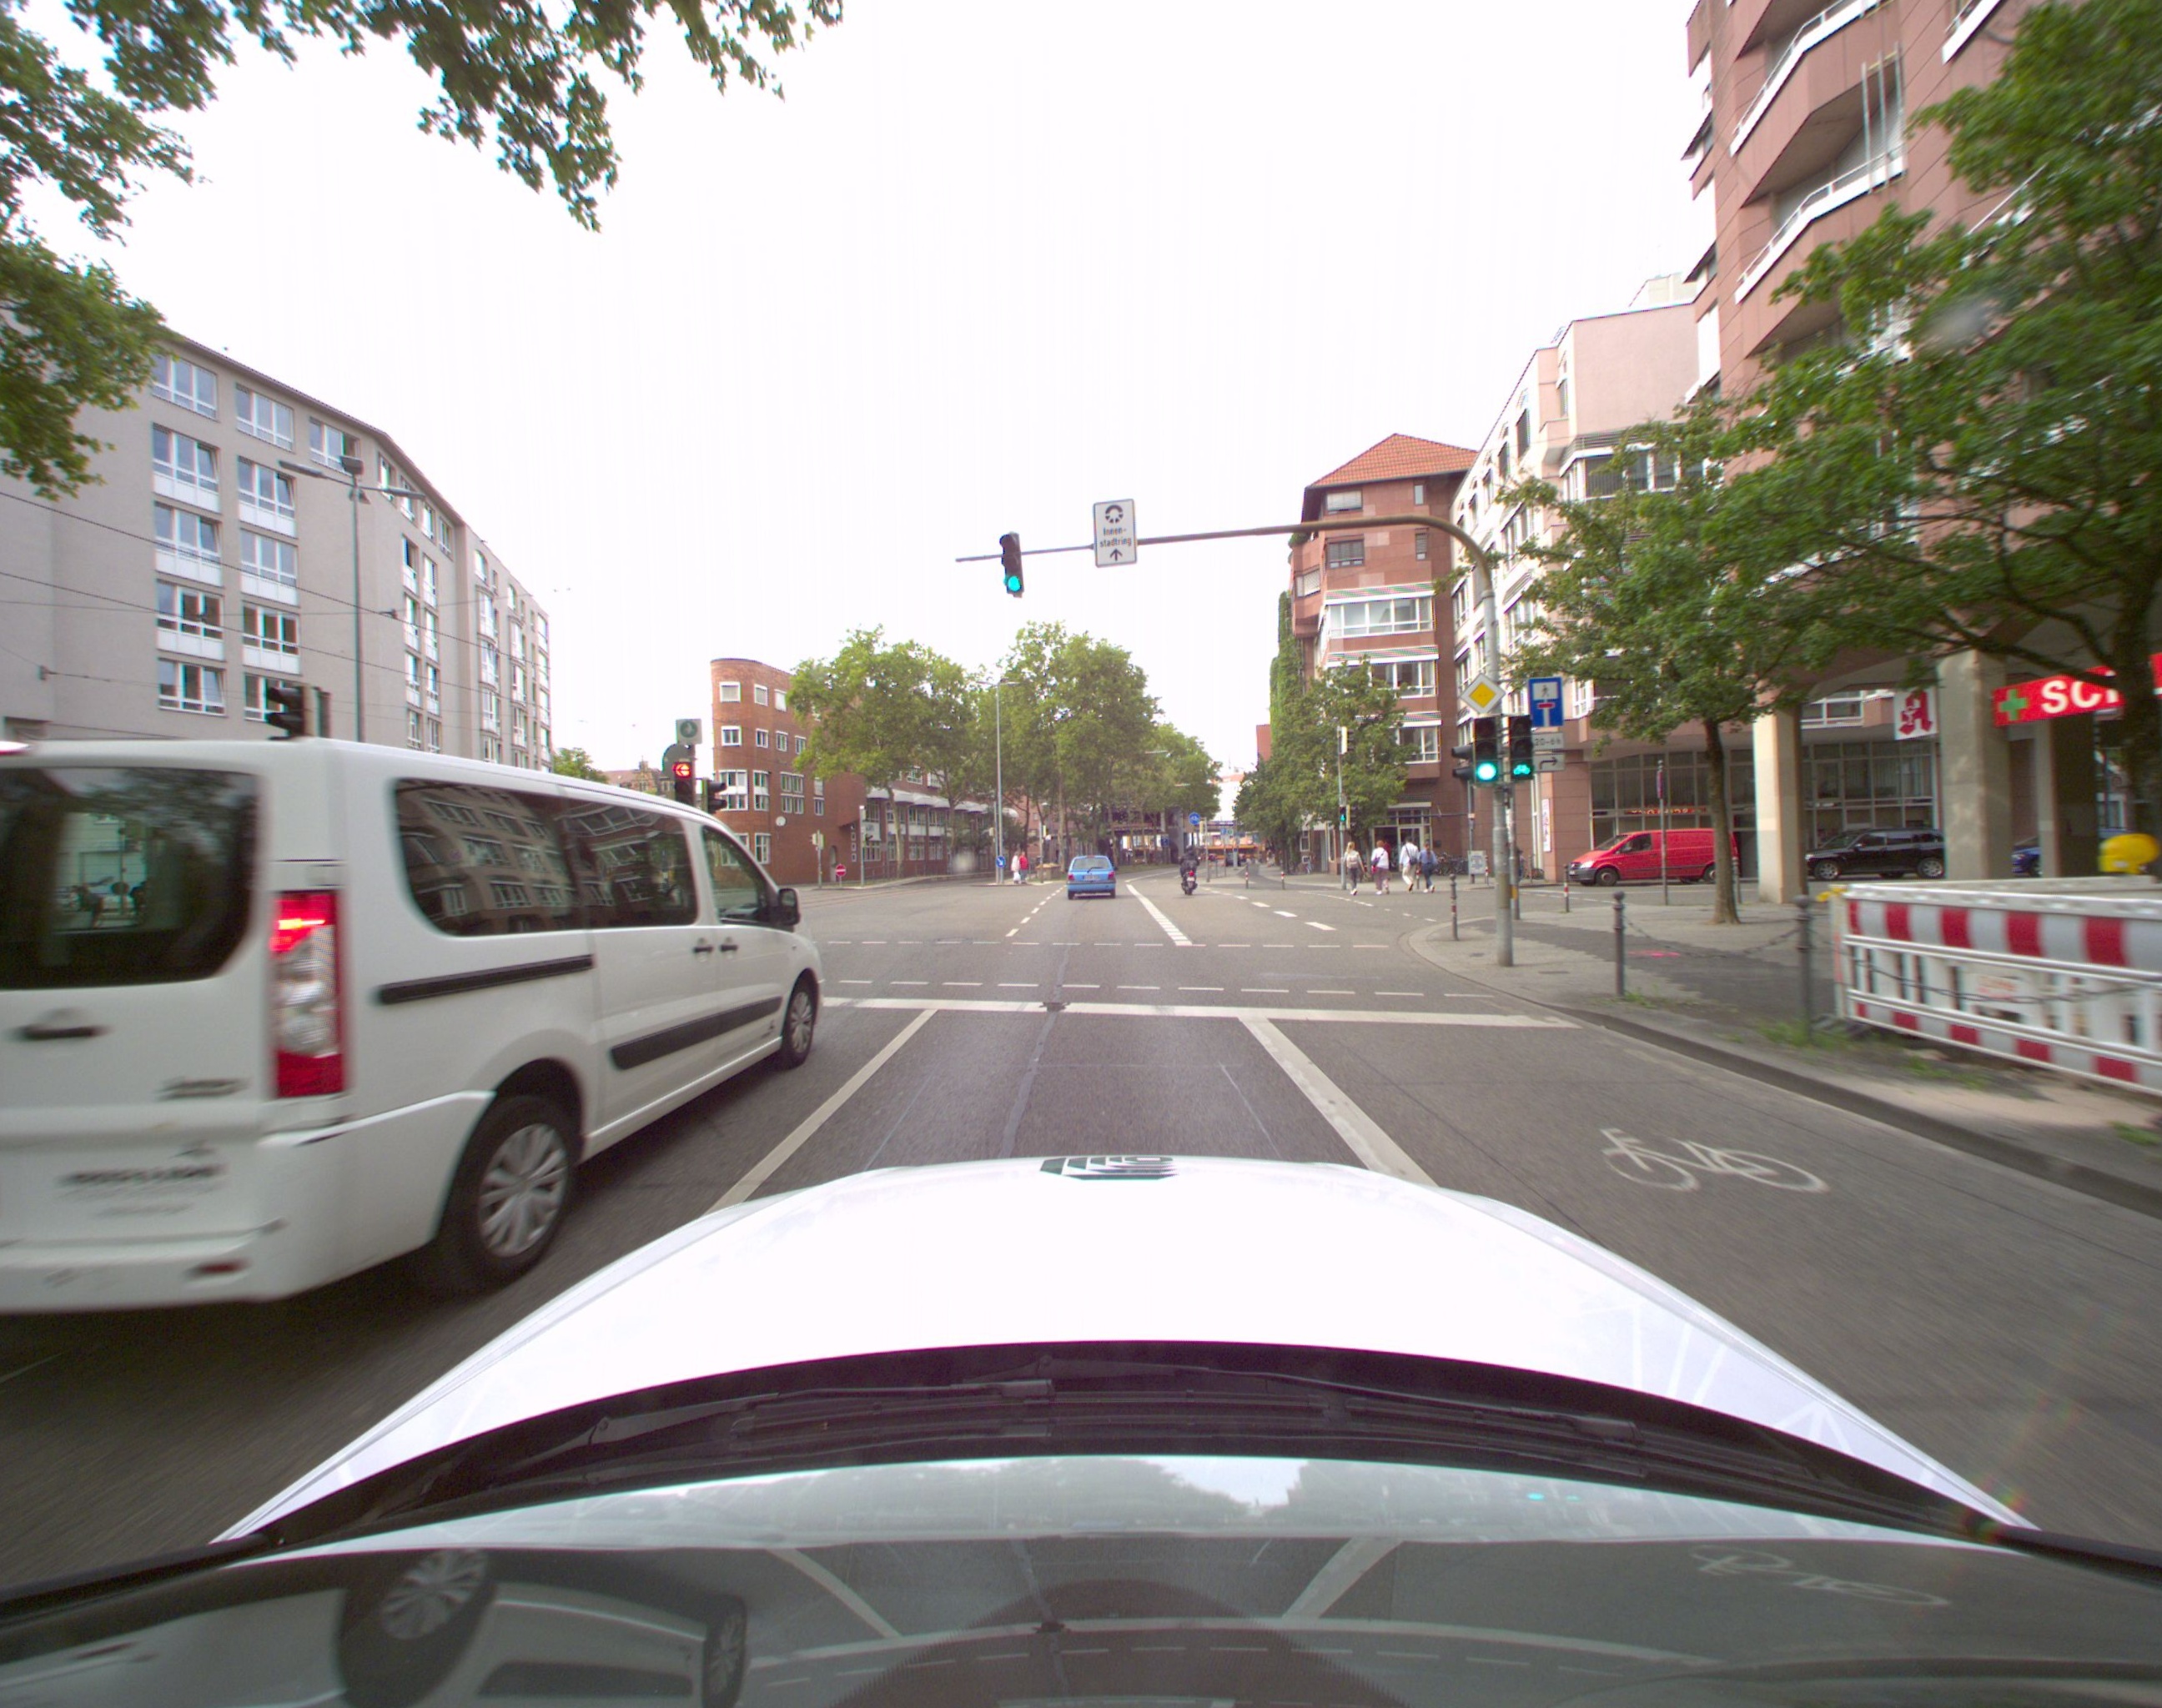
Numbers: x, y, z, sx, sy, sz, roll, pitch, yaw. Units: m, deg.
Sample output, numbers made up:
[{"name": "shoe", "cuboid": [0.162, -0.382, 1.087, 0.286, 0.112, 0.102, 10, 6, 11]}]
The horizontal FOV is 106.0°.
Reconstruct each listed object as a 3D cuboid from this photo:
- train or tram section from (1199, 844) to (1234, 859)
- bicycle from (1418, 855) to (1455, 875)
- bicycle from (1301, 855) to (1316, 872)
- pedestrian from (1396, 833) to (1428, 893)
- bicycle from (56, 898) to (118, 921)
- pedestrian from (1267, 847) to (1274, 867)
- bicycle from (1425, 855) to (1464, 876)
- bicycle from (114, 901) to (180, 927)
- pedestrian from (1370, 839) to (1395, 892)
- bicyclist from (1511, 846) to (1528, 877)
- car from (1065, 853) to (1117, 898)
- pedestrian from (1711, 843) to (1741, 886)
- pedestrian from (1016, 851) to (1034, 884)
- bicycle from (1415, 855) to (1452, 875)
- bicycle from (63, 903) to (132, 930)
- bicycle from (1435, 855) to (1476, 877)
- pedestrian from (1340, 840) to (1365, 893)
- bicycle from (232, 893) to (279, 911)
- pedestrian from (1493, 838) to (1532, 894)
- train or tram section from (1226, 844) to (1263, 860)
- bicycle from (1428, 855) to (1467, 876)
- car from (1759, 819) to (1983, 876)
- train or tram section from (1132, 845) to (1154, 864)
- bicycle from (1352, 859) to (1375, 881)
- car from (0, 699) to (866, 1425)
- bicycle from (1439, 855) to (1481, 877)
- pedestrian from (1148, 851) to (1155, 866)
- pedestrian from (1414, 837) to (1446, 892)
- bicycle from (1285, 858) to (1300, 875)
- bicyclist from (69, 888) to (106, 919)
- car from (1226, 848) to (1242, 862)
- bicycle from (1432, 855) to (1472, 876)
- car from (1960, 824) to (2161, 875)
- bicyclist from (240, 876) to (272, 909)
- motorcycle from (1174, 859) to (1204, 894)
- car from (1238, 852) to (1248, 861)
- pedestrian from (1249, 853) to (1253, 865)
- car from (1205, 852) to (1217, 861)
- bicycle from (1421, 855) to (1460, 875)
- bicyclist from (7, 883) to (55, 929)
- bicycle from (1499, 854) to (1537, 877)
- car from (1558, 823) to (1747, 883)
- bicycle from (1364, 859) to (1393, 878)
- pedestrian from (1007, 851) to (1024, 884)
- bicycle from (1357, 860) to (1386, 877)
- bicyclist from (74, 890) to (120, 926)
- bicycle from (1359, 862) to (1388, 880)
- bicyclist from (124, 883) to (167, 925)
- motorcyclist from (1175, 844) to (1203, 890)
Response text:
[{"name": "train or tram section", "cuboid": [30.909, -0.644, 185.439, 8.860, 3.254, 2.369, -2, -1, -38]}, {"name": "bicycle", "cuboid": [18.649, 0.572, 42.722, 1.720, 1.008, 0.438, -2, -1, 8]}, {"name": "bicycle", "cuboid": [13.971, 0.581, 49.956, 0.613, 1.008, 1.739, -2, 0, 7]}, {"name": "pedestrian", "cuboid": [10.483, 0.282, 25.814, 0.672, 1.828, 0.853, -2, 0, 8]}, {"name": "bicycle", "cuboid": [-51.189, 2.862, 41.955, 2.096, 1.048, 0.712, -2, 0, -5]}, {"name": "pedestrian", "cuboid": [18.592, 0.282, 79.984, 0.642, 1.859, 0.785, -2, 0, 11]}, {"name": "bicycle", "cuboid": [18.582, 0.570, 41.677, 1.720, 1.008, 0.480, -2, -1, 8]}, {"name": "bicycle", "cuboid": [-36.044, 2.312, 31.446, 2.164, 0.911, 0.769, -2, 0, 14]}, {"name": "pedestrian", "cuboid": [9.287, 0.346, 25.097, 0.514, 1.616, 0.853, -2, 0, 8]}, {"name": "bicyclist", "cuboid": [17.864, 0.318, 33.202, 0.491, 1.244, 0.483, -2, 0, 39]}, {"name": "car", "cuboid": [0.376, 0.671, 27.643, 1.634, 1.386, 3.844, -1, 0, 2]}, {"name": "pedestrian", "cuboid": [24.257, 0.382, 30.627, 0.646, 1.579, 0.581, -2, 0, 12]}, {"name": "pedestrian", "cuboid": [-2.988, 0.691, 43.383, 0.547, 1.718, 0.896, -2, -1, 28]}, {"name": "bicycle", "cuboid": [18.702, 0.574, 43.223, 1.720, 1.008, 0.431, -2, -1, 8]}, {"name": "bicycle", "cuboid": [-36.725, 2.345, 30.414, 2.164, 0.911, 0.769, -2, 0, 14]}, {"name": "bicycle", "cuboid": [18.275, 0.584, 39.803, 1.720, 1.008, 0.547, -2, -1, 8]}, {"name": "pedestrian", "cuboid": [8.427, 0.390, 25.283, 0.514, 1.616, 0.852, -2, 0, 6]}, {"name": "bicycle", "cuboid": [-40.855, 2.372, 40.301, 1.969, 0.836, 0.580, -2, 0, 9]}, {"name": "pedestrian", "cuboid": [12.269, 0.335, 23.166, 0.671, 1.538, 0.949, -2, 0, 9]}, {"name": "train or tram section", "cuboid": [38.187, -0.482, 189.854, 8.365, 3.254, 2.379, -2, -1, -22]}, {"name": "bicycle", "cuboid": [18.544, 0.569, 41.188, 1.720, 1.008, 0.425, -2, -1, 8]}, {"name": "car", "cuboid": [25.293, -0.162, 26.298, 4.793, 1.590, 2.007, -2, -2, 13]}, {"name": "train or tram section", "cuboid": [10.847, 0.096, 141.701, 2.373, 3.254, 8.847, -2, -1, 12]}, {"name": "bicycle", "cuboid": [13.179, 0.738, 38.081, 0.614, 1.008, 1.738, -2, 0, 6]}, {"name": "car", "cuboid": [-2.939, 0.564, 4.674, 1.925, 1.925, 4.957, -2, 0, 1]}, {"name": "bicycle", "cuboid": [18.238, 0.586, 39.194, 1.720, 1.008, 0.547, -2, -1, 8]}, {"name": "pedestrian", "cuboid": [9.144, 0.594, 105.273, 0.723, 1.859, 0.873, -2, -1, 13]}, {"name": "pedestrian", "cuboid": [11.139, 0.325, 26.020, 0.648, 1.701, 1.024, -2, 0, 9]}, {"name": "bicycle", "cuboid": [12.921, 0.778, 49.759, 0.613, 1.008, 1.739, -2, 0, 7]}, {"name": "bicyclist", "cuboid": [-51.181, 2.523, 41.960, 0.942, 1.525, 0.704, -2, 0, -5]}, {"name": "car", "cuboid": [18.839, 0.119, 100.304, 1.687, 1.601, 4.015, -2, 0, 13]}, {"name": "bicycle", "cuboid": [18.395, 0.578, 40.387, 1.720, 1.008, 0.547, -2, -1, 8]}, {"name": "car", "cuboid": [30.392, -0.117, 25.257, 3.940, 1.405, 1.732, -2, -2, 13]}, {"name": "bicyclist", "cuboid": [-40.779, 1.912, 40.272, 1.024, 1.562, 0.584, -2, -1, 9]}, {"name": "motorcycle", "cuboid": [3.649, 0.742, 27.623, 0.764, 1.107, 2.209, -2, -1, 2]}, {"name": "car", "cuboid": [31.038, 0.497, 156.157, 1.687, 1.601, 4.015, -2, 0, 13]}, {"name": "pedestrian", "cuboid": [25.257, 0.702, 120.714, 0.506, 1.759, 0.541, -2, -1, 12]}, {"name": "car", "cuboid": [25.862, 0.538, 162.067, 1.873, 1.624, 4.015, -2, 0, 13]}, {"name": "bicycle", "cuboid": [18.622, 0.570, 42.205, 1.720, 1.008, 0.472, -2, -1, 8]}, {"name": "bicyclist", "cuboid": [-38.461, 1.911, 29.837, 0.873, 1.614, 0.771, -2, -1, 15]}, {"name": "bicycle", "cuboid": [17.830, 0.462, 33.245, 1.302, 0.915, 0.478, -2, 0, 39]}, {"name": "car", "cuboid": [19.209, 0.014, 27.616, 4.793, 1.826, 2.007, -2, -2, 13]}, {"name": "bicycle", "cuboid": [14.704, 0.713, 40.248, 1.287, 0.868, 0.456, -5, -2, 23]}, {"name": "pedestrian", "cuboid": [-3.413, 0.690, 42.516, 0.548, 1.718, 0.895, -2, -1, 19]}, {"name": "bicycle", "cuboid": [14.241, 0.701, 39.941, 1.287, 0.814, 0.447, -2, -1, 23]}, {"name": "bicyclist", "cuboid": [-36.774, 2.011, 30.429, 0.873, 1.304, 0.771, -2, 0, 15]}, {"name": "bicycle", "cuboid": [14.176, 0.830, 39.482, 1.288, 0.838, 0.456, -2, -1, 19]}, {"name": "bicyclist", "cuboid": [-36.152, 1.920, 31.471, 0.873, 1.539, 0.771, -2, 0, 15]}, {"name": "motorcyclist", "cuboid": [3.628, 0.433, 27.451, 0.756, 1.519, 1.018, -2, -1, 2]}]
